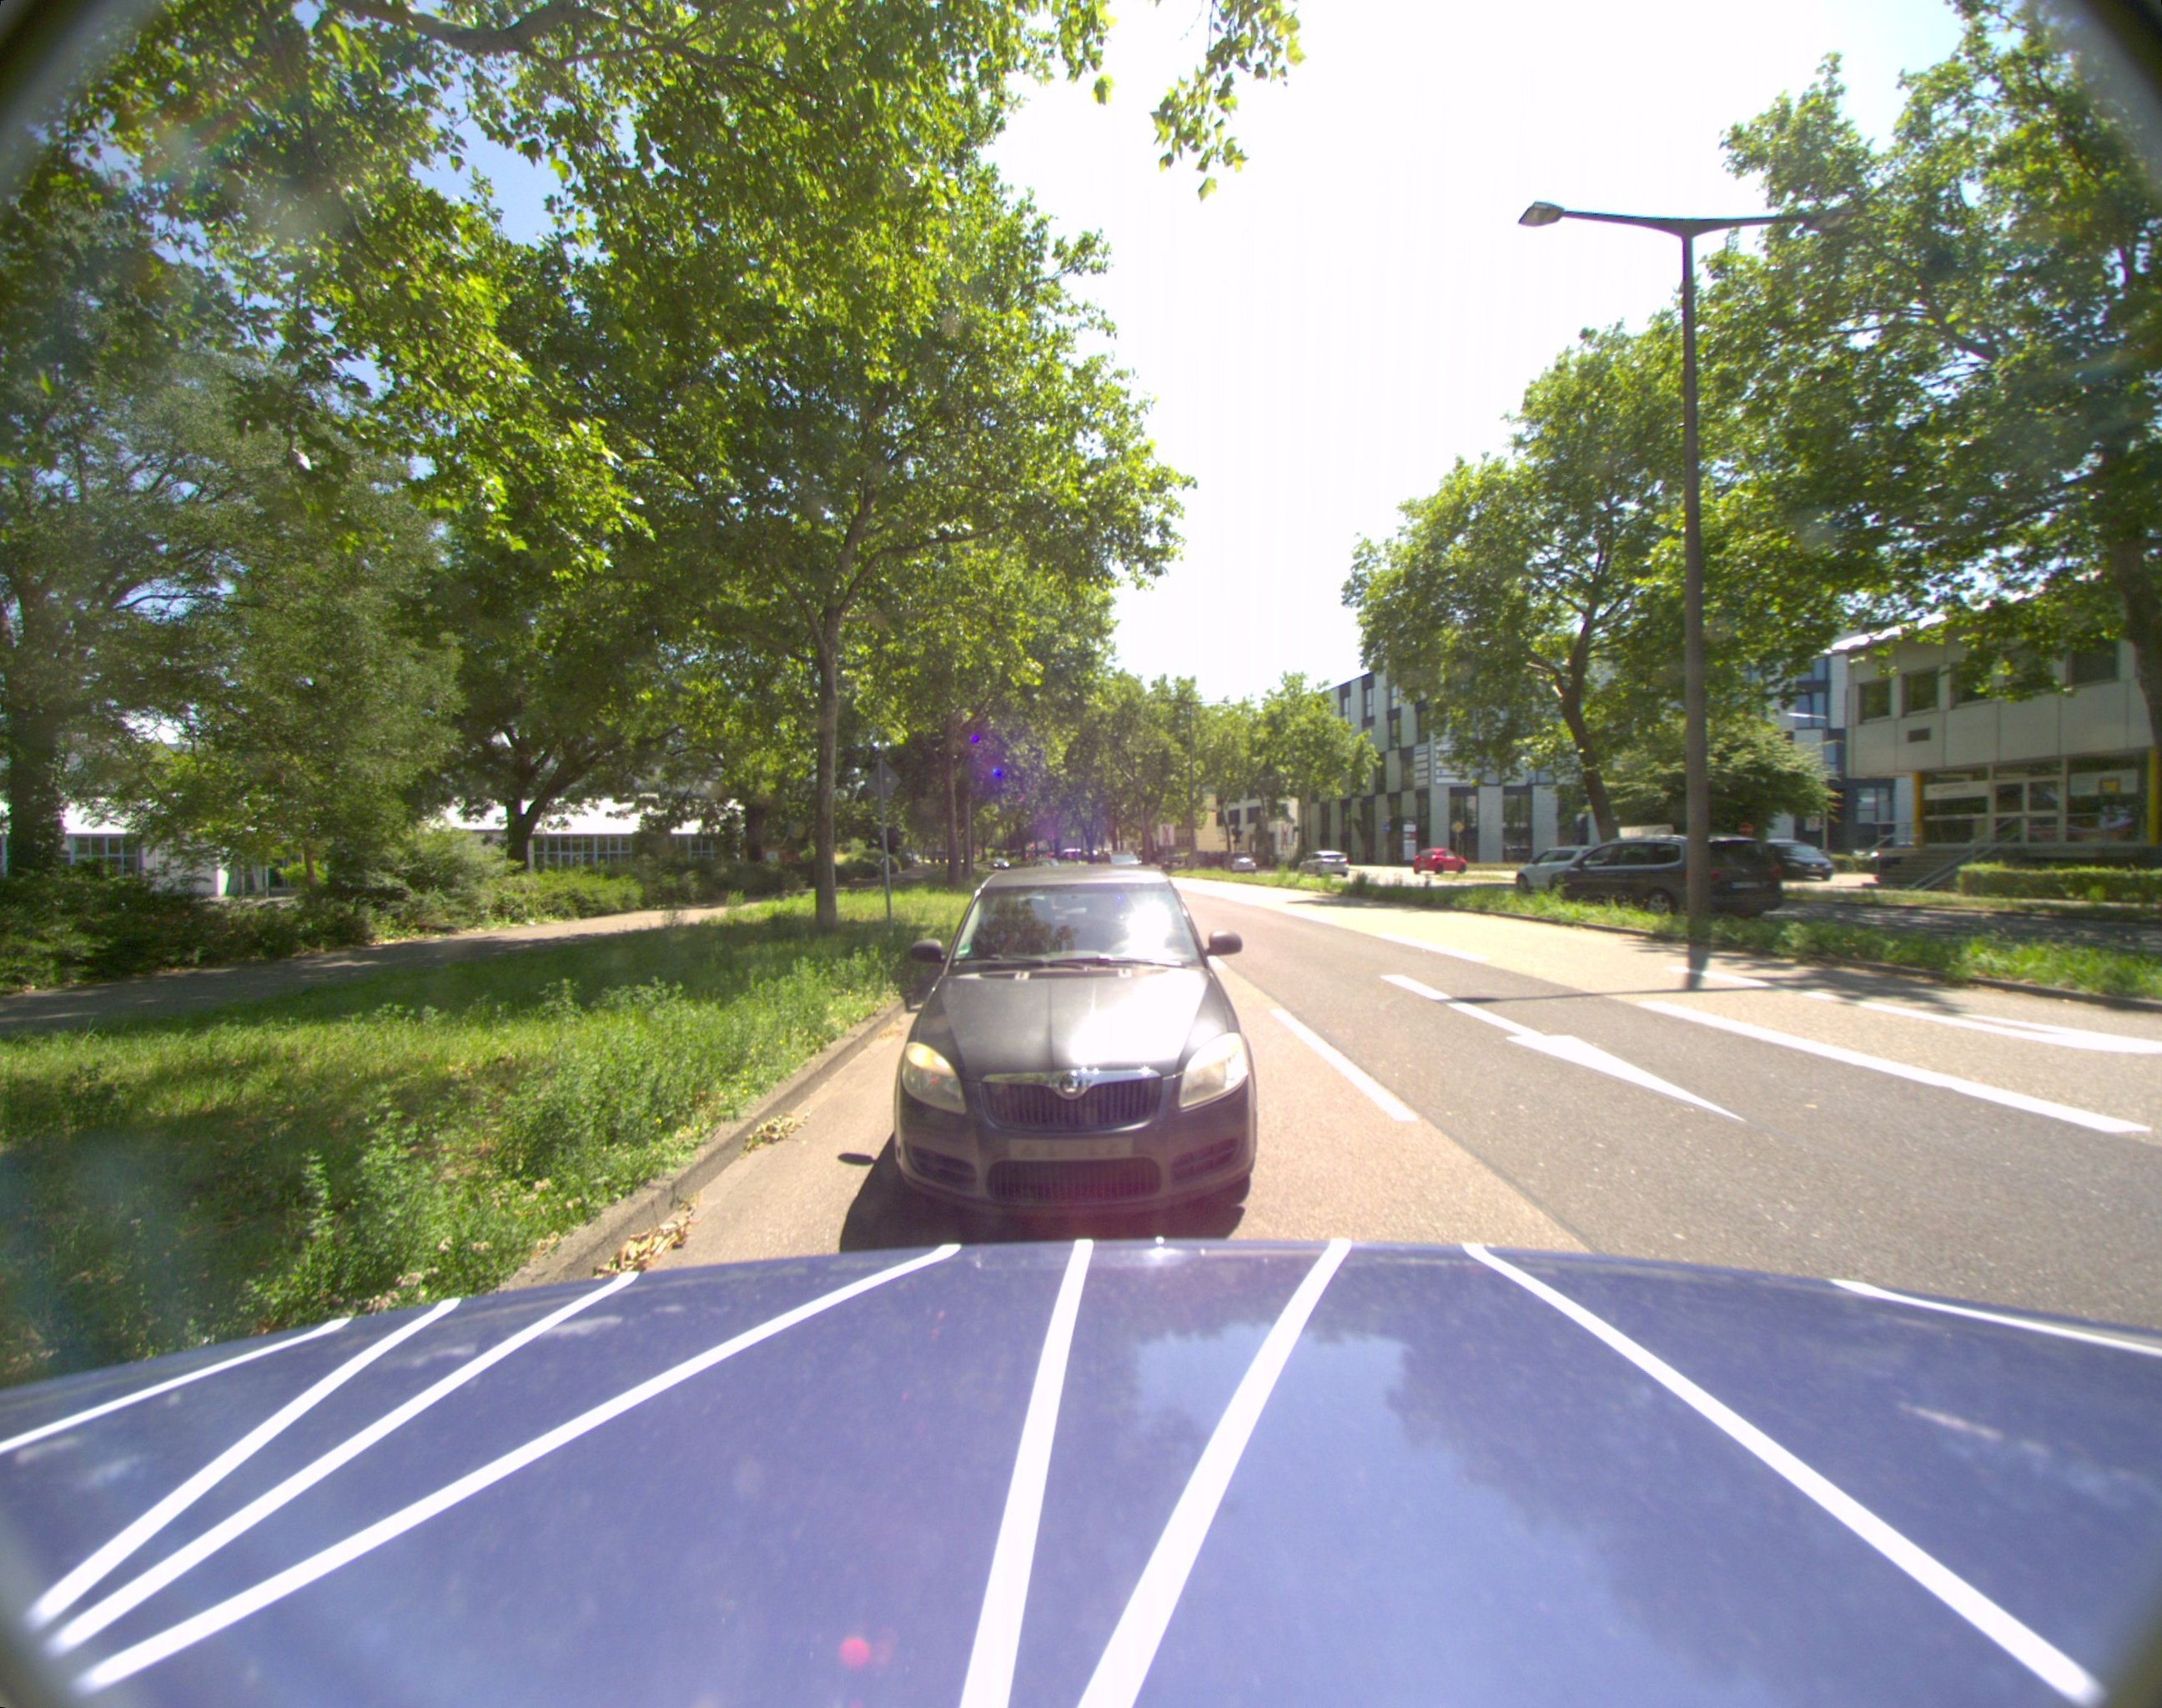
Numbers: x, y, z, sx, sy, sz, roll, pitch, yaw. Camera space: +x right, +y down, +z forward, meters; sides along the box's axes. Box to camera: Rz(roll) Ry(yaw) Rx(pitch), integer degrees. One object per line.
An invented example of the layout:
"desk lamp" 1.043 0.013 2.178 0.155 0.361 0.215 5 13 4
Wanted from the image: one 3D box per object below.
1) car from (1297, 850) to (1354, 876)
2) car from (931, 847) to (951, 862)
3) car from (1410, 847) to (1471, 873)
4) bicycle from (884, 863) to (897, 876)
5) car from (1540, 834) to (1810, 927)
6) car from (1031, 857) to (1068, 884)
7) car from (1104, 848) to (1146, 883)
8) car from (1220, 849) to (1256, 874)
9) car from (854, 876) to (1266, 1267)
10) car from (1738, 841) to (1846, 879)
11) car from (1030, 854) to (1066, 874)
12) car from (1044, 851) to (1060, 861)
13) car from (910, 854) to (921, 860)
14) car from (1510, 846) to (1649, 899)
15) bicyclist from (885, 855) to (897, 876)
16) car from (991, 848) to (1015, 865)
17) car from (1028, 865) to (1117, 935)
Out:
"car" 13.765 0.485 43.027 1.757 1.435 3.670 -1 0 -6
"car" -25.416 0.009 138.045 2.922 2.639 6.357 -1 0 -17
"car" 21.445 0.343 45.275 3.536 1.453 1.673 -1 1 -33
"bicycle" -12.066 0.990 48.215 0.465 0.760 1.668 -1 0 -2
"car" 12.017 0.461 15.895 1.954 1.646 4.620 -1 0 -2
"car" -1.773 0.914 43.855 1.878 1.448 3.786 -2 0 1
"car" 2.317 0.585 41.474 1.859 1.745 4.647 -1 0 -2
"car" 10.099 0.455 49.142 1.537 1.519 2.853 -1 0 -5
"car" -0.060 0.951 5.045 1.654 1.453 3.865 -1 0 1
"car" 32.816 0.241 35.198 1.819 1.638 3.528 -2 1 4
"car" -2.508 0.752 56.838 1.625 1.437 3.645 -1 0 -22
"car" -4.807 0.317 124.961 1.955 1.600 3.996 -1 0 -10
"car" -35.159 0.635 161.367 1.511 1.379 3.420 -1 0 -30
"car" 14.987 0.518 23.088 1.736 1.450 3.673 -1 0 -2
"bicyclist" -12.071 0.723 48.282 0.600 1.331 0.666 -1 1 -2
"car" -8.738 0.294 84.489 2.001 1.871 3.994 -1 0 -16
"car" -0.150 0.967 17.481 1.791 1.325 3.742 -2 0 1
